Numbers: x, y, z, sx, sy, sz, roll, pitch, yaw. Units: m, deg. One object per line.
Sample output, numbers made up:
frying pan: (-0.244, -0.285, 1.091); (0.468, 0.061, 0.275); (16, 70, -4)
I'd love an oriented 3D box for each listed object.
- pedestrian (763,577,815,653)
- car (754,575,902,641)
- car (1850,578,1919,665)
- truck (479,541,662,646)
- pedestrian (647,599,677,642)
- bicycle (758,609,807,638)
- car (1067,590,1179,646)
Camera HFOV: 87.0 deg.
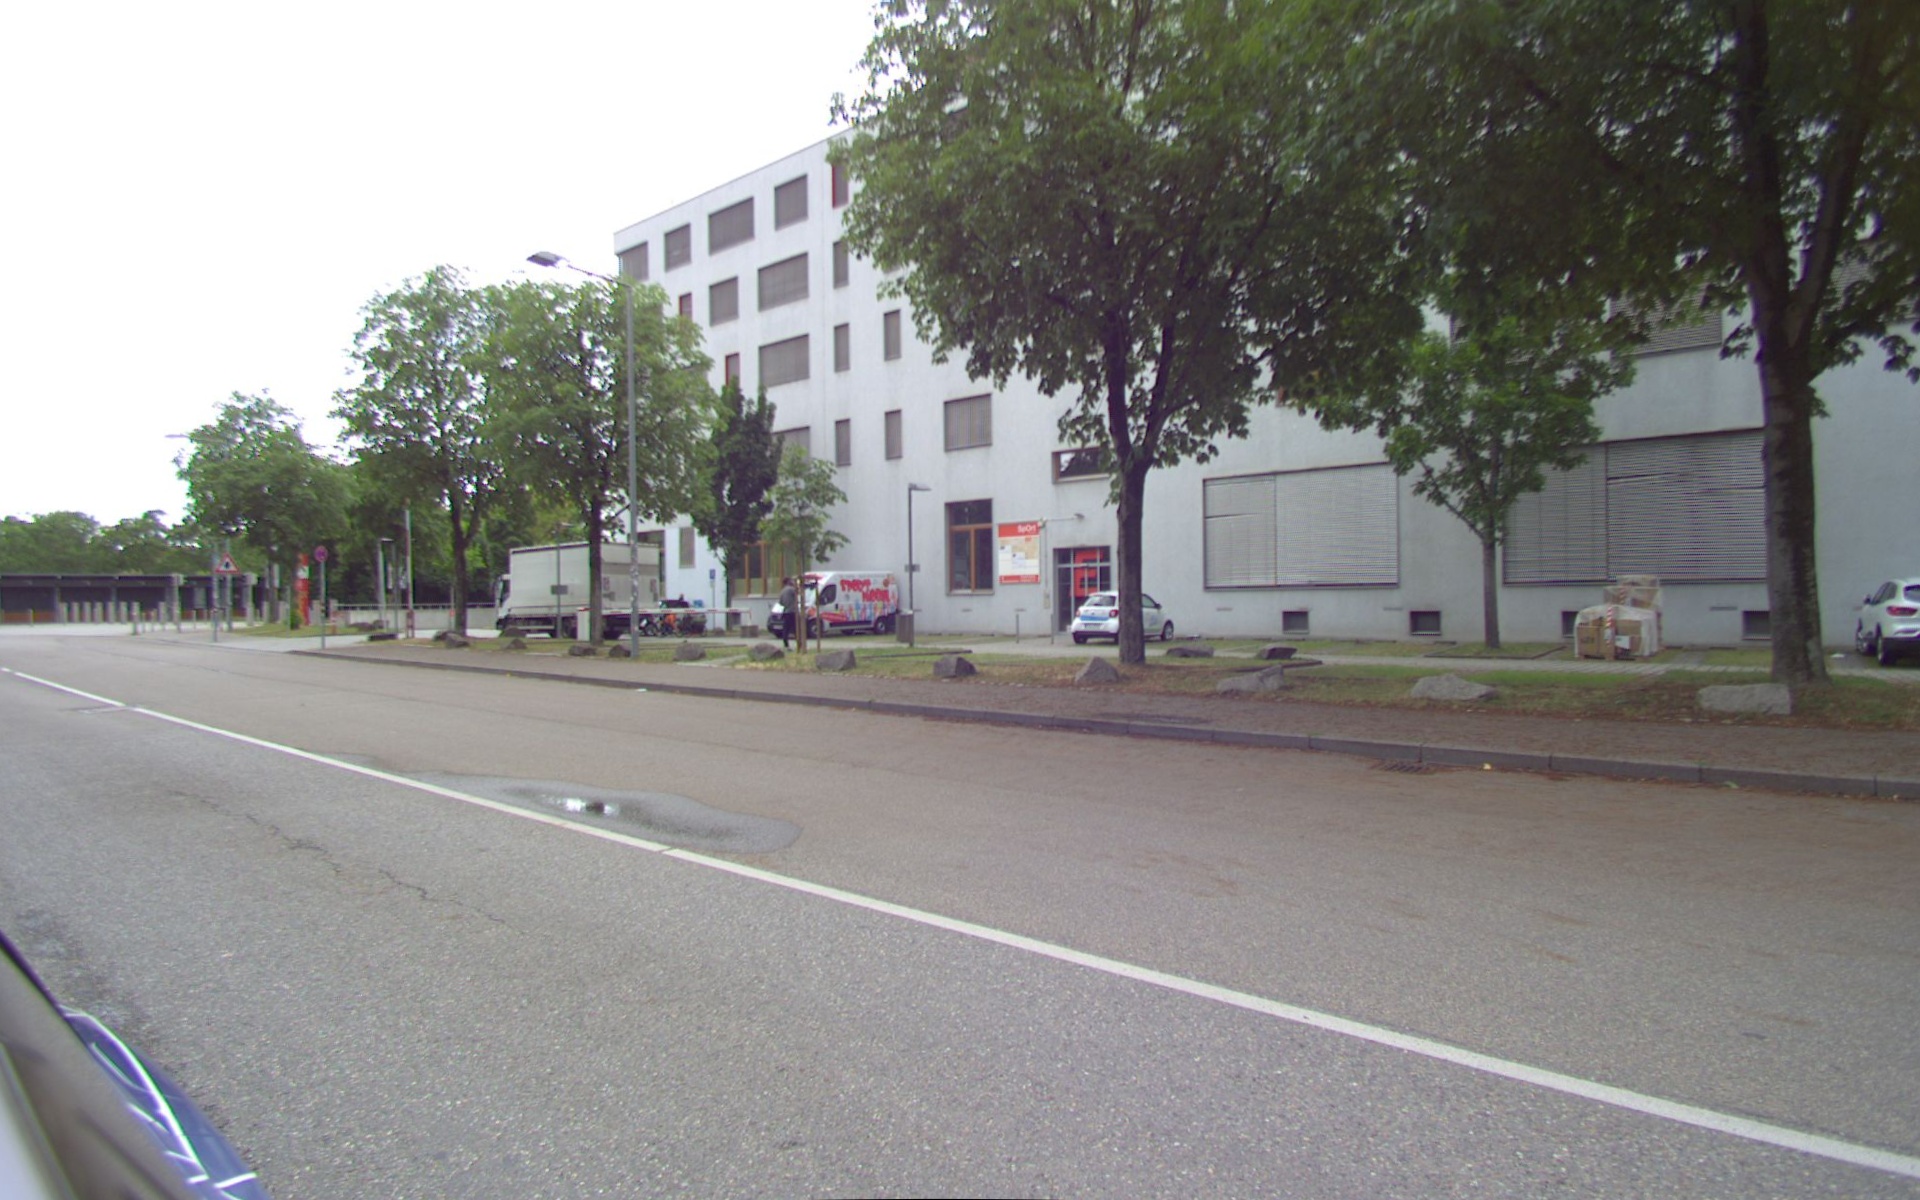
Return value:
pedestrian: (-3.888, 0.322, 23.002); (0.785, 1.684, 0.836); (0, 1, 35)
car: (-4.857, 0.216, 38.090); (2.078, 2.296, 5.569); (0, 1, 40)
car: (17.932, 0.340, 18.658); (1.896, 1.467, 3.963); (0, 1, 36)
truck: (-15.077, -0.282, 38.795); (8.354, 3.627, 2.651); (0, 1, 38)
pedestrian: (-11.569, 0.773, 39.278); (0.884, 1.618, 0.673); (0, 1, 28)
bicycle: (-7.256, 0.943, 41.440); (0.614, 1.078, 2.002); (0, 2, 44)
car: (4.852, 0.479, 29.887); (1.691, 1.511, 3.576); (0, 1, 40)
